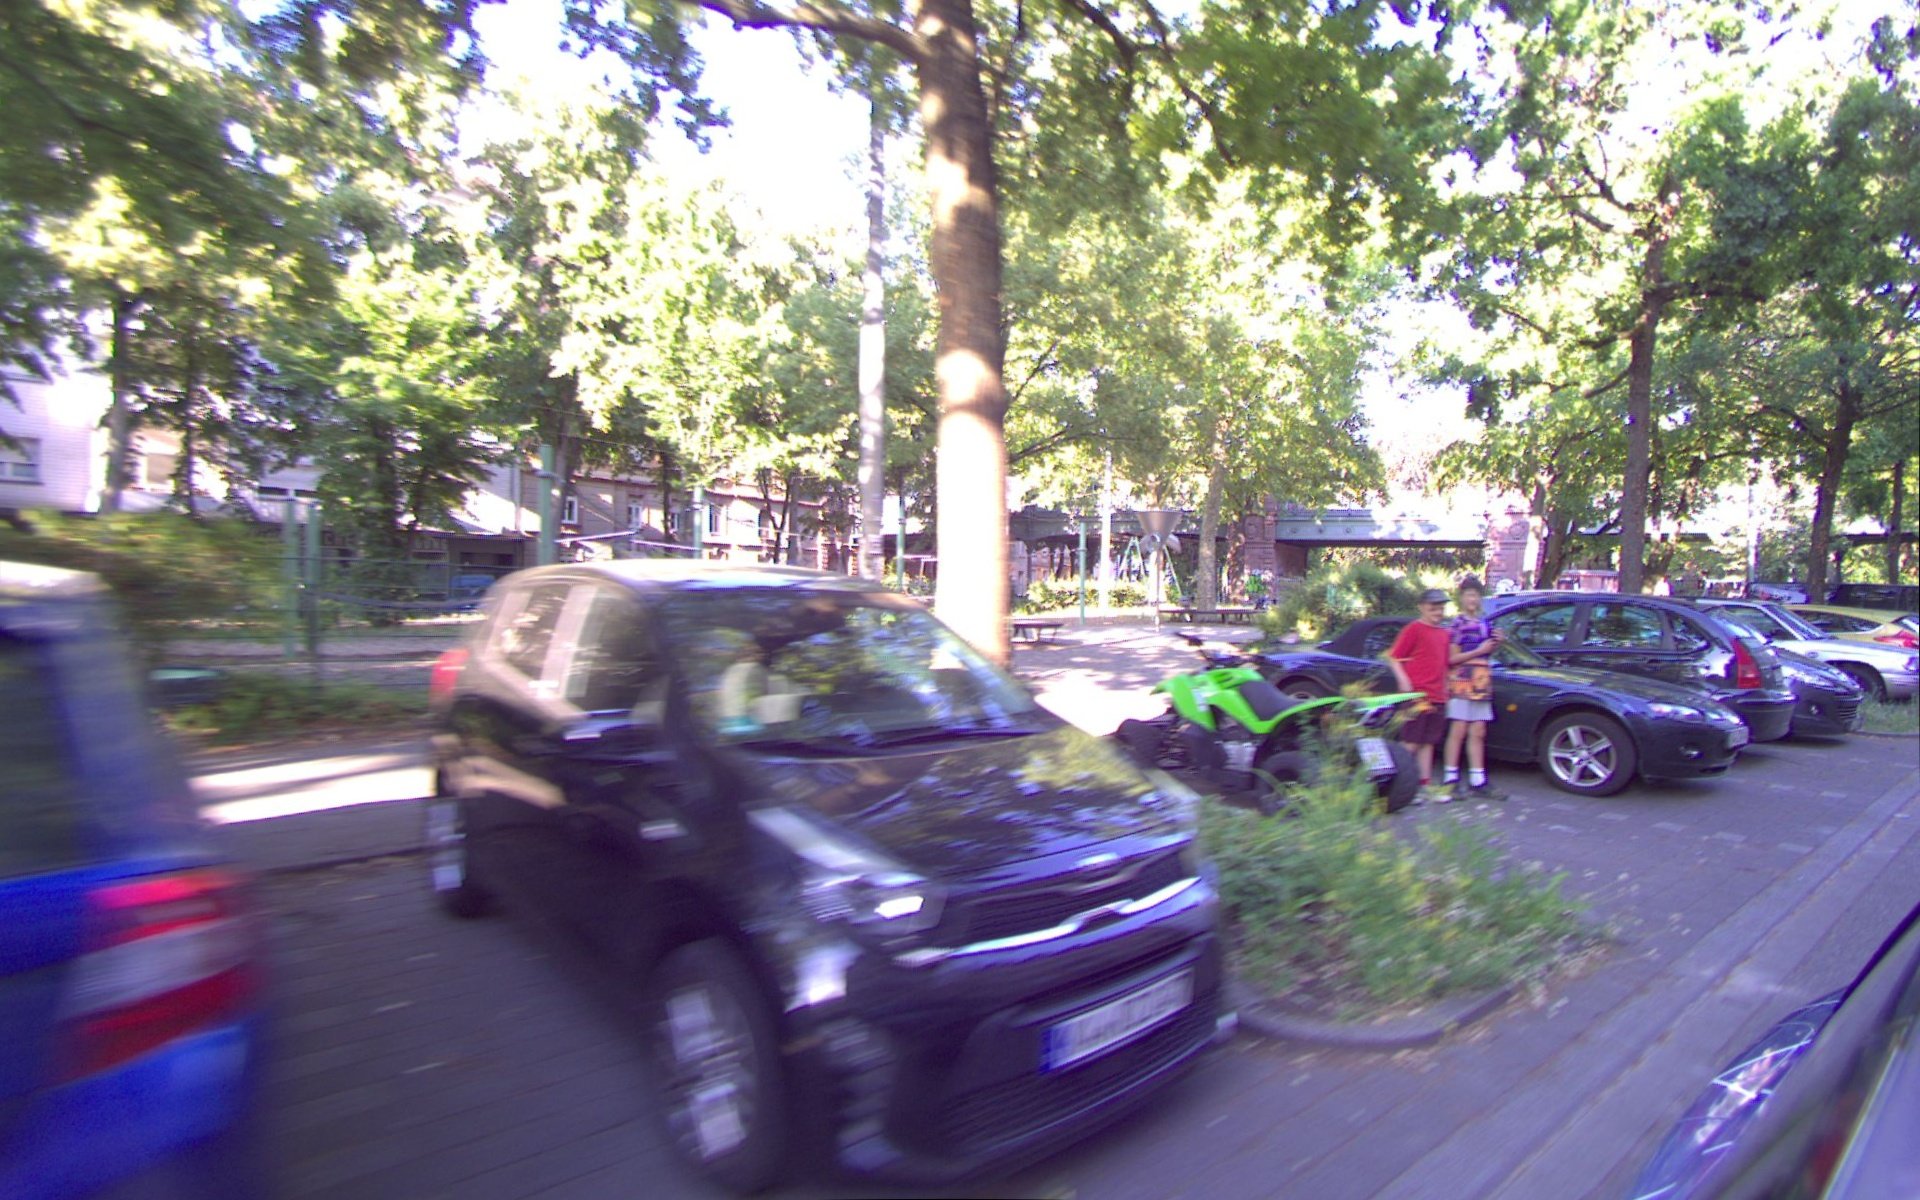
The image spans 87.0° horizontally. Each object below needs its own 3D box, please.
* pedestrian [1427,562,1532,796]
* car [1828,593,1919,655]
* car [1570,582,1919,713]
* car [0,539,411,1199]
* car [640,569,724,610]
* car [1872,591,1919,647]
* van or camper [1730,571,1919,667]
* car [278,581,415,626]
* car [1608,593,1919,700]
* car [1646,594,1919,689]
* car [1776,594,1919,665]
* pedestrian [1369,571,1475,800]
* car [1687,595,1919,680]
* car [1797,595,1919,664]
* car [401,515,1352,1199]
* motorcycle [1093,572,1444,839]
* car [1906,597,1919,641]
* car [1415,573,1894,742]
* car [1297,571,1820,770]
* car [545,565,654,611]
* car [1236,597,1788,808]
[{"bbox_3d":[3.704,0.552,7.224,0.508,1.605,0.382,3,-1,-21],"label":"pedestrian"},{"bbox_3d":[27.031,0.689,27.898,1.633,1.596,4.415,-1,3,-35],"label":"car"},{"bbox_3d":[11.807,0.582,14.996,1.805,1.611,4.408,-1,2,-40],"label":"car"},{"bbox_3d":[-2.823,0.573,2.428,1.731,1.460,4.088,0,2,-42],"label":"car"},{"bbox_3d":[-14.407,-0.556,52.624,1.982,2.039,3.960,-1,1,29],"label":"car"},{"bbox_3d":[30.551,0.622,30.925,1.635,1.666,3.791,-2,3,-39],"label":"car"},{"bbox_3d":[21.037,0.411,22.870,1.992,2.053,5.429,1,1,-37],"label":"van or camper"},{"bbox_3d":[-23.019,0.101,38.099,1.982,1.571,3.960,-1,1,29],"label":"car"},{"bbox_3d":[13.694,0.673,16.966,1.804,1.458,4.412,0,2,-37],"label":"car"},{"bbox_3d":[15.470,0.677,18.576,1.804,1.458,4.412,0,2,-37],"label":"car"},{"bbox_3d":[22.423,0.690,24.120,1.807,1.519,4.405,-2,3,-42],"label":"car"},{"bbox_3d":[3.215,0.580,7.050,0.508,1.536,0.382,3,-1,-21],"label":"pedestrian"},{"bbox_3d":[17.305,0.686,20.055,1.806,1.458,4.408,-1,2,-41],"label":"car"},{"bbox_3d":[24.147,0.754,25.546,1.634,1.596,4.412,-2,3,-37],"label":"car"},{"bbox_3d":[-0.737,0.531,3.741,1.730,1.520,3.684,0,2,-39],"label":"car"},{"bbox_3d":[2.009,0.582,6.784,1.241,1.480,1.865,-2,1,-38],"label":"motorcycle"},{"bbox_3d":[34.720,0.708,34.173,1.633,1.464,3.796,-1,3,-34],"label":"car"},{"bbox_3d":[8.070,0.501,12.158,1.804,1.611,4.410,0,2,-39],"label":"car"},{"bbox_3d":[6.030,0.531,10.616,1.808,1.611,4.403,-1,2,-44],"label":"car"},{"bbox_3d":[-16.874,-0.591,47.627,1.982,2.039,4.691,-1,1,29],"label":"car"},{"bbox_3d":[4.519,0.677,8.746,1.661,1.295,3.850,0,2,-40],"label":"car"}]
